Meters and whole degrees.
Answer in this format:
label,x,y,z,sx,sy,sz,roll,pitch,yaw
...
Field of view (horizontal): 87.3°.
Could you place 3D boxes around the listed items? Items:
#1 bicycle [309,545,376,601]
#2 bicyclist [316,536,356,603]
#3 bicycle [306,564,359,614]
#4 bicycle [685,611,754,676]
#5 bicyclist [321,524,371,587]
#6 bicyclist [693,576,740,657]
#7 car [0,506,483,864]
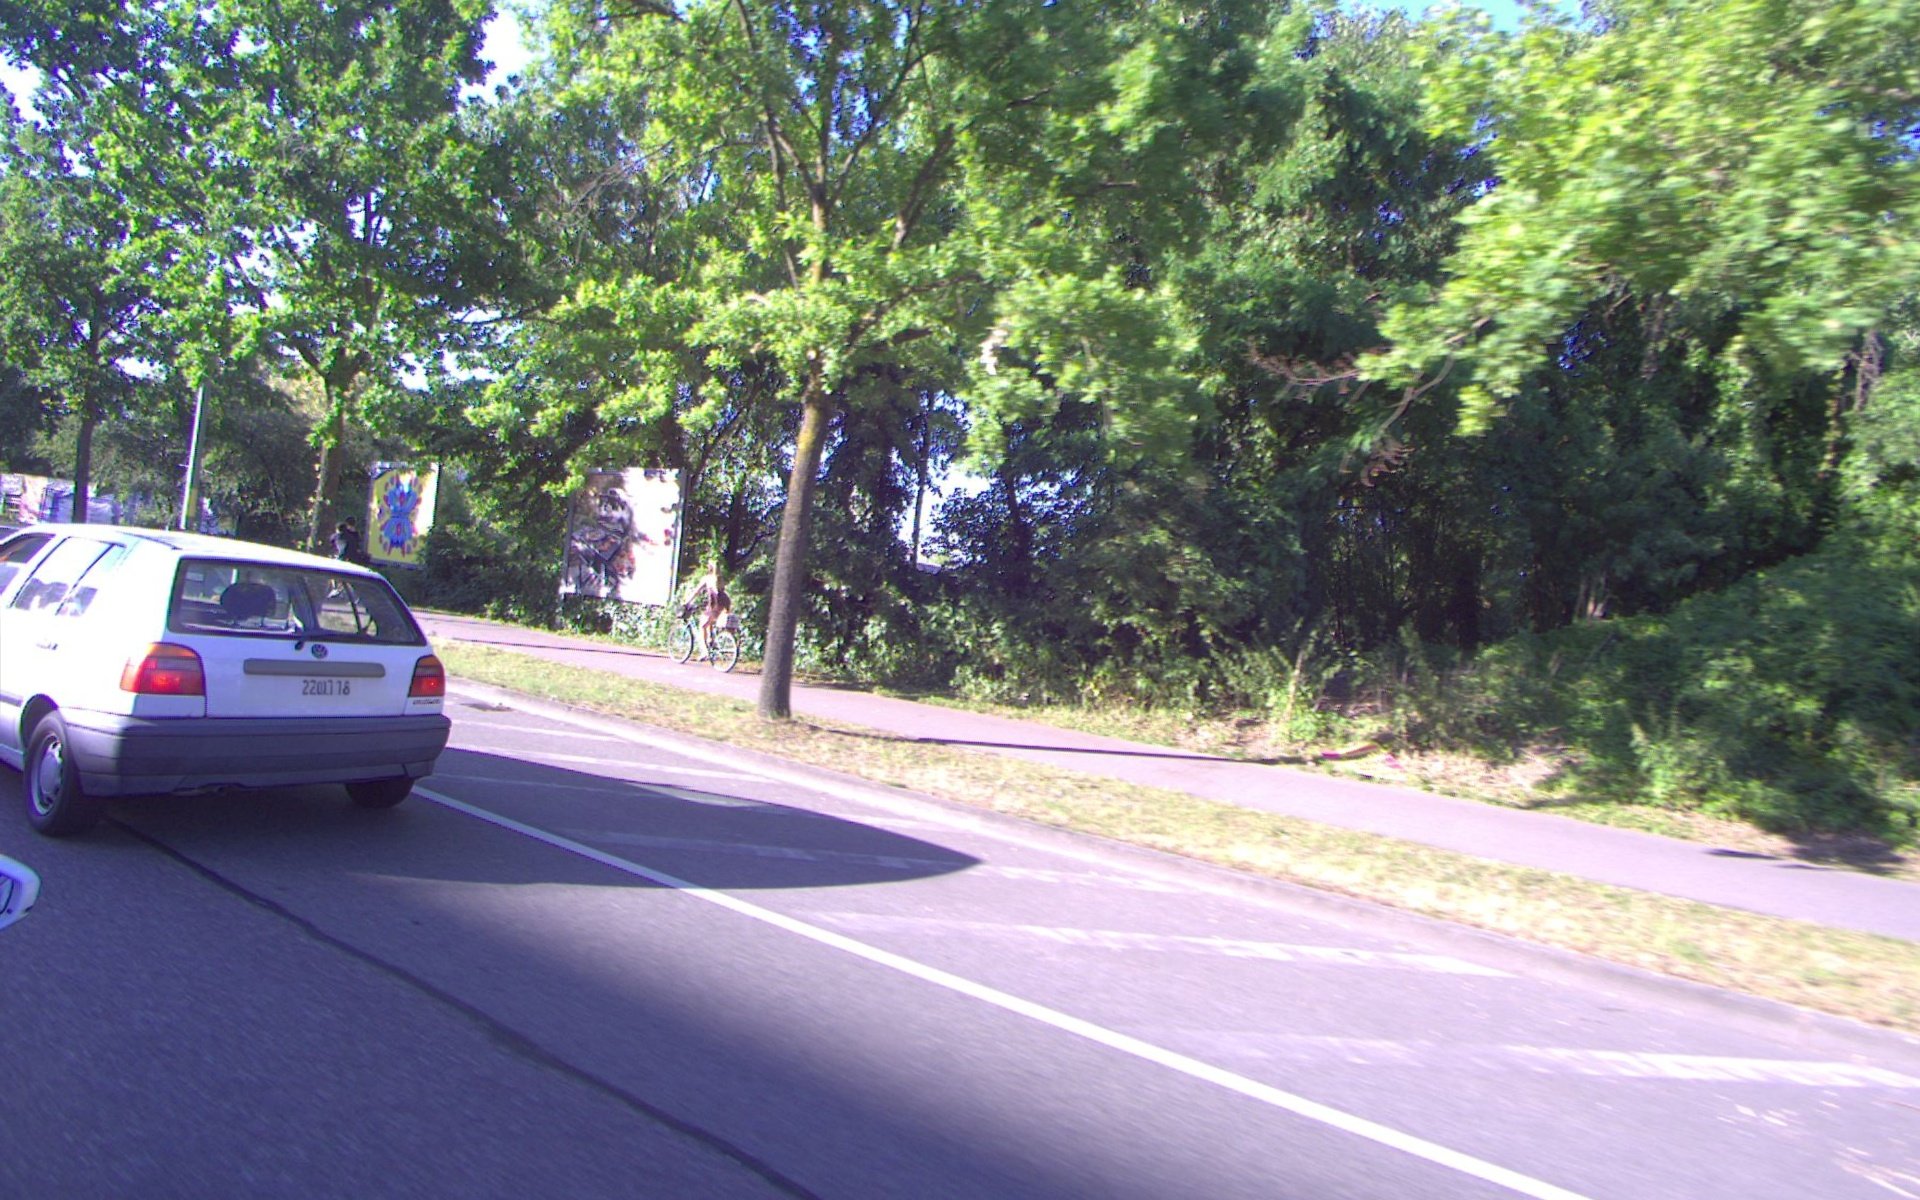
label,x,y,z,sx,sy,sz,roll,pitch,yaw
bicycle,-14.264,-0.630,23.233,1.595,1.125,0.565,5,-2,32
bicyclist,-13.013,-0.629,20.985,0.452,1.324,0.428,6,-2,32
bicycle,-13.095,-0.226,20.991,1.010,0.925,0.438,5,-2,32
bicycle,-3.865,0.692,16.135,1.010,0.926,0.437,5,1,32
bicyclist,-14.177,-1.031,23.233,0.821,1.331,0.544,6,-2,32
bicyclist,-3.920,0.273,16.206,0.452,1.248,0.428,6,0,32
car,-4.788,0.290,5.840,3.995,1.429,1.582,5,-2,31
